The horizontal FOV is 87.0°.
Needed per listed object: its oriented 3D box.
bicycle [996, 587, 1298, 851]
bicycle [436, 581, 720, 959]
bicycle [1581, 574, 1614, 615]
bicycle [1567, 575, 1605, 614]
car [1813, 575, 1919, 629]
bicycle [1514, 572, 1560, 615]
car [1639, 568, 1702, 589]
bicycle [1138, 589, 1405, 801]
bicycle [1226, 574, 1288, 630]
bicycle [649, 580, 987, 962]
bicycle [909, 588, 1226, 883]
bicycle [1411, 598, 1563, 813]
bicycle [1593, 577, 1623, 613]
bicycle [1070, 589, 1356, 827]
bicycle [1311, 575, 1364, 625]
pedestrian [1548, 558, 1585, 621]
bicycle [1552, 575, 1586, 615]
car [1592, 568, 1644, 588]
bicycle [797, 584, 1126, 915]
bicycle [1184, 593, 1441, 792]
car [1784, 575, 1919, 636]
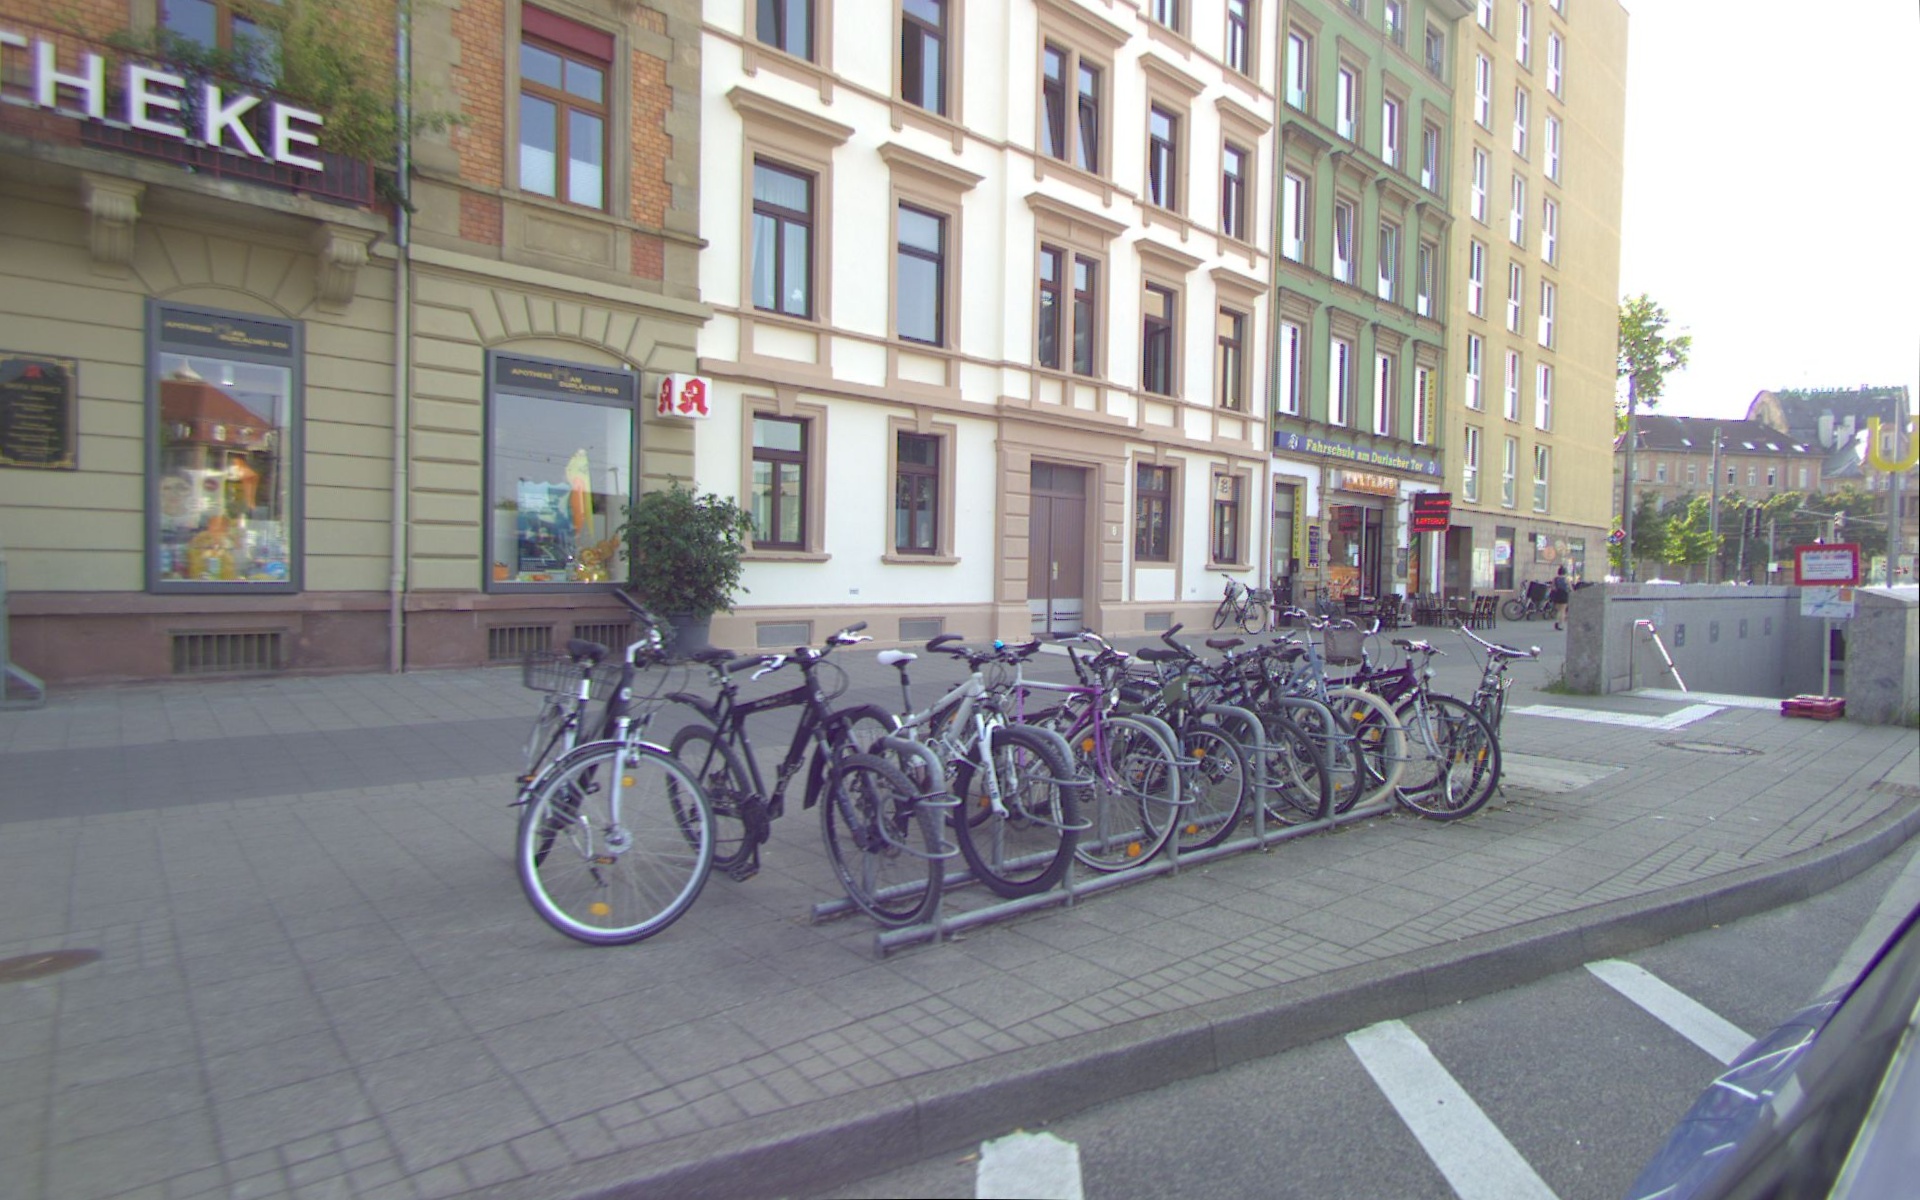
[{"bbox_3d":[0.925,0.540,5.374,0.379,1.162,1.634,-1,3,-45],"label":"bicycle"},{"bbox_3d":[-1.595,0.529,4.051,0.591,1.162,1.637,0,3,-38],"label":"bicycle"},{"bbox_3d":[20.581,-0.194,32.652,0.602,1.276,1.968,2,2,41],"label":"bicycle"},{"bbox_3d":[21.388,-0.188,34.564,1.817,1.276,0.603,-1,2,-42],"label":"bicycle"},{"bbox_3d":[26.901,0.042,28.251,4.335,1.441,1.844,1,2,8],"label":"car"},{"bbox_3d":[17.763,-0.206,31.153,1.963,1.276,0.603,-1,2,-41],"label":"bicycle"},{"bbox_3d":[53.565,-1.645,76.388,1.766,1.459,3.639,1,2,-10],"label":"car"},{"bbox_3d":[1.939,0.537,6.501,0.379,1.162,1.634,-1,3,-45],"label":"bicycle"},{"bbox_3d":[6.300,0.033,21.412,1.689,1.148,0.384,-1,2,-41],"label":"bicycle"},{"bbox_3d":[-0.624,0.528,3.906,0.379,1.162,1.634,-1,3,-45],"label":"bicycle"},{"bbox_3d":[0.447,0.550,4.880,0.379,1.162,1.634,-1,3,-45],"label":"bicycle"},{"bbox_3d":[3.363,0.590,6.393,0.407,1.162,1.631,3,3,43],"label":"bicycle"},{"bbox_3d":[23.485,-0.180,36.683,1.608,1.276,0.469,-1,2,-42],"label":"bicycle"},{"bbox_3d":[1.410,0.548,5.897,0.379,1.162,1.634,-1,3,-45],"label":"bicycle"},{"bbox_3d":[8.973,-0.015,24.036,1.689,1.148,0.384,-1,2,-41],"label":"bicycle"},{"bbox_3d":[16.335,-0.287,27.254,0.724,1.649,0.610,0,2,-40],"label":"pedestrian"},{"bbox_3d":[19.898,-0.176,33.060,0.602,1.276,1.968,2,2,41],"label":"bicycle"},{"bbox_3d":[65.952,-2.211,101.538,1.757,1.909,4.299,3,1,-13],"label":"car"},{"bbox_3d":[-0.067,0.540,4.419,0.379,1.162,1.634,-1,3,-45],"label":"bicycle"},{"bbox_3d":[2.352,0.562,6.922,0.379,1.162,1.634,-1,3,-45],"label":"bicycle"},{"bbox_3d":[23.696,0.111,26.056,3.469,1.482,1.620,1,2,8],"label":"car"}]
